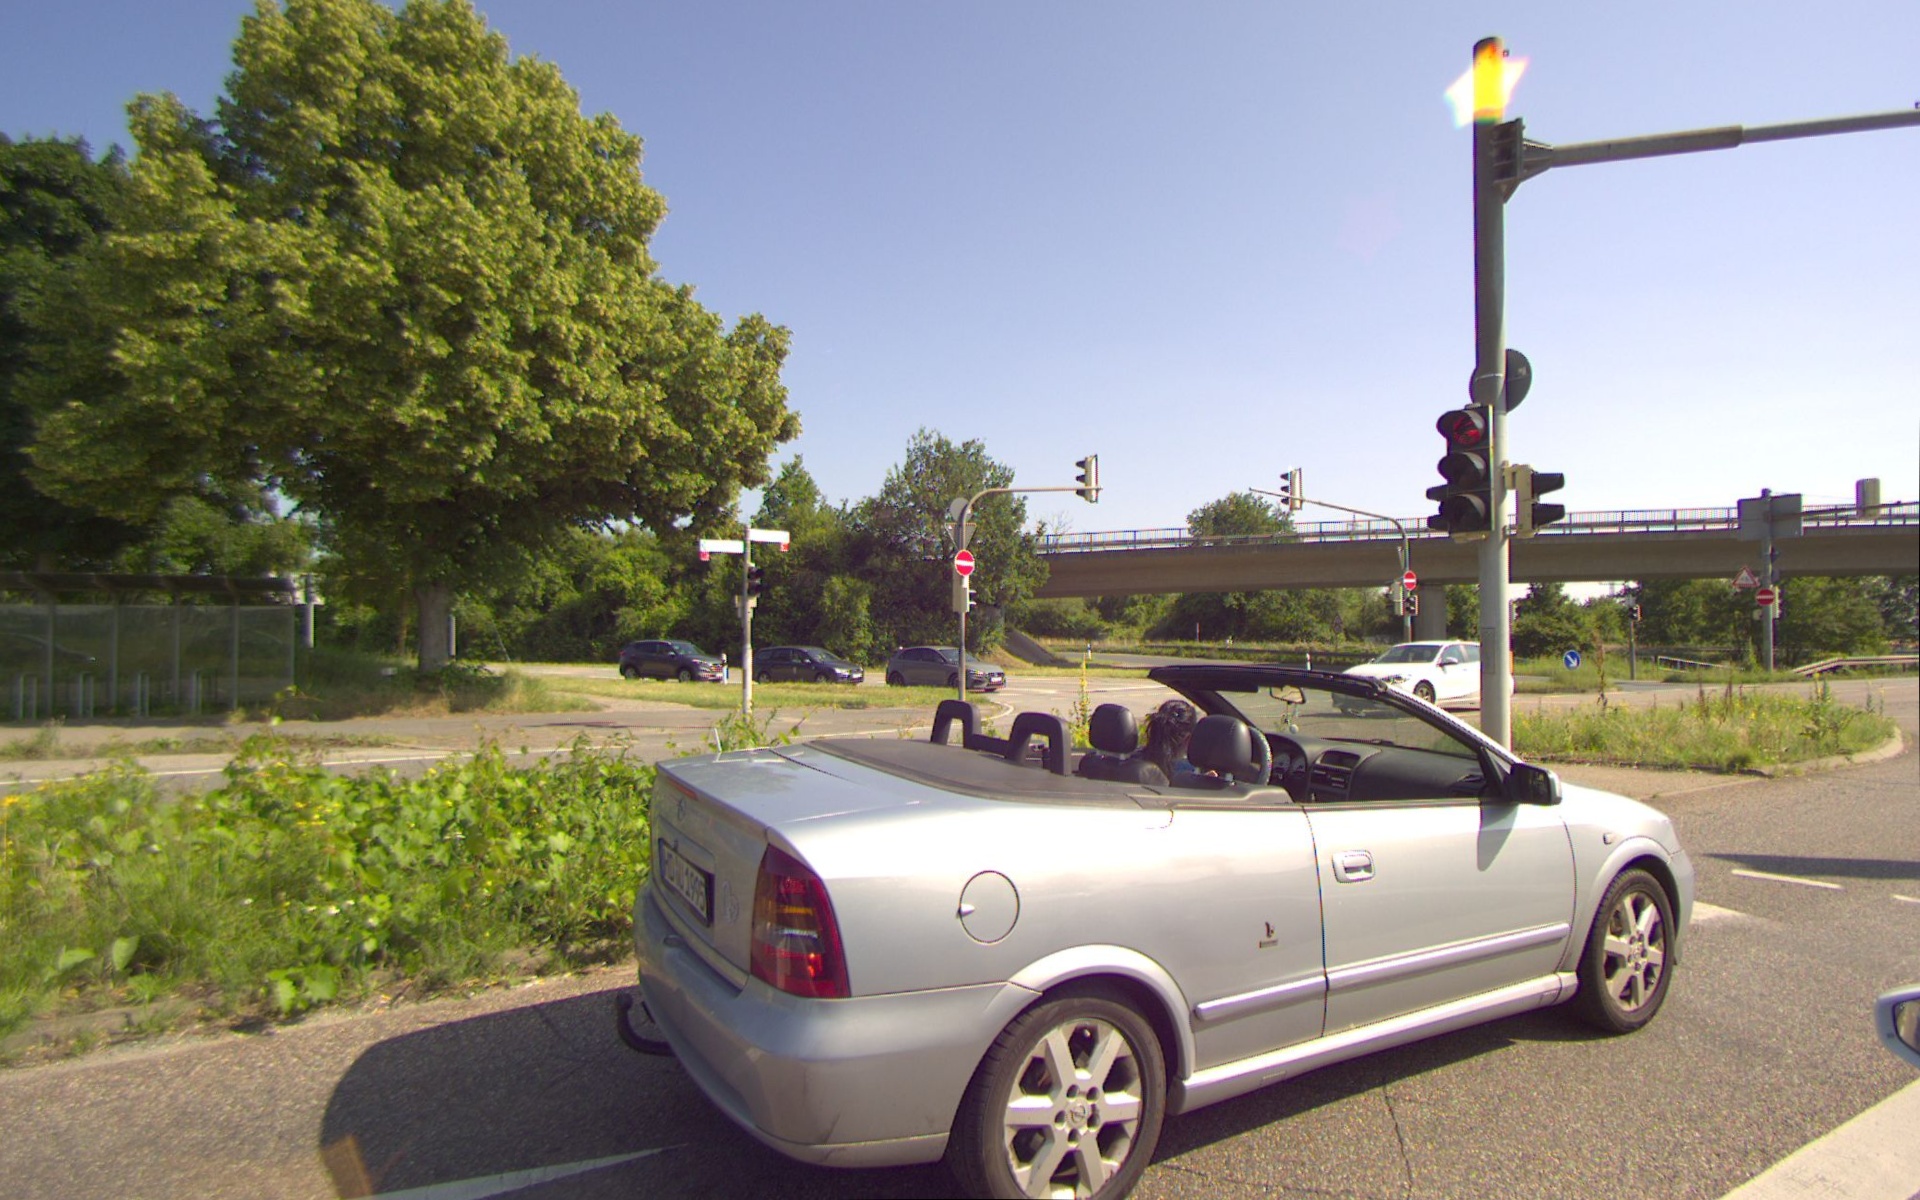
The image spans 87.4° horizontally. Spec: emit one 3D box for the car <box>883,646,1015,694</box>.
[{"bbox_3d":[-0.395,2.202,32.279,4.066,1.443,1.862,-2,-3,41],"label":"car"}]

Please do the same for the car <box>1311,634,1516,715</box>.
[{"bbox_3d":[9.451,1.523,20.881,4.101,1.534,1.874,1,-5,-31],"label":"car"}]

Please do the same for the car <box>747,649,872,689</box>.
[{"bbox_3d":[-5.345,2.388,35.441,4.277,1.297,1.648,-1,-2,30],"label":"car"}]

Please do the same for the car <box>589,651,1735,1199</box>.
[{"bbox_3d":[0.905,0.884,3.695,4.049,1.352,1.666,1,-2,-30],"label":"car"}]

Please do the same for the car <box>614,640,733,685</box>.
[{"bbox_3d":[-10.826,2.319,37.920,4.272,1.616,1.650,-1,-2,25],"label":"car"}]
